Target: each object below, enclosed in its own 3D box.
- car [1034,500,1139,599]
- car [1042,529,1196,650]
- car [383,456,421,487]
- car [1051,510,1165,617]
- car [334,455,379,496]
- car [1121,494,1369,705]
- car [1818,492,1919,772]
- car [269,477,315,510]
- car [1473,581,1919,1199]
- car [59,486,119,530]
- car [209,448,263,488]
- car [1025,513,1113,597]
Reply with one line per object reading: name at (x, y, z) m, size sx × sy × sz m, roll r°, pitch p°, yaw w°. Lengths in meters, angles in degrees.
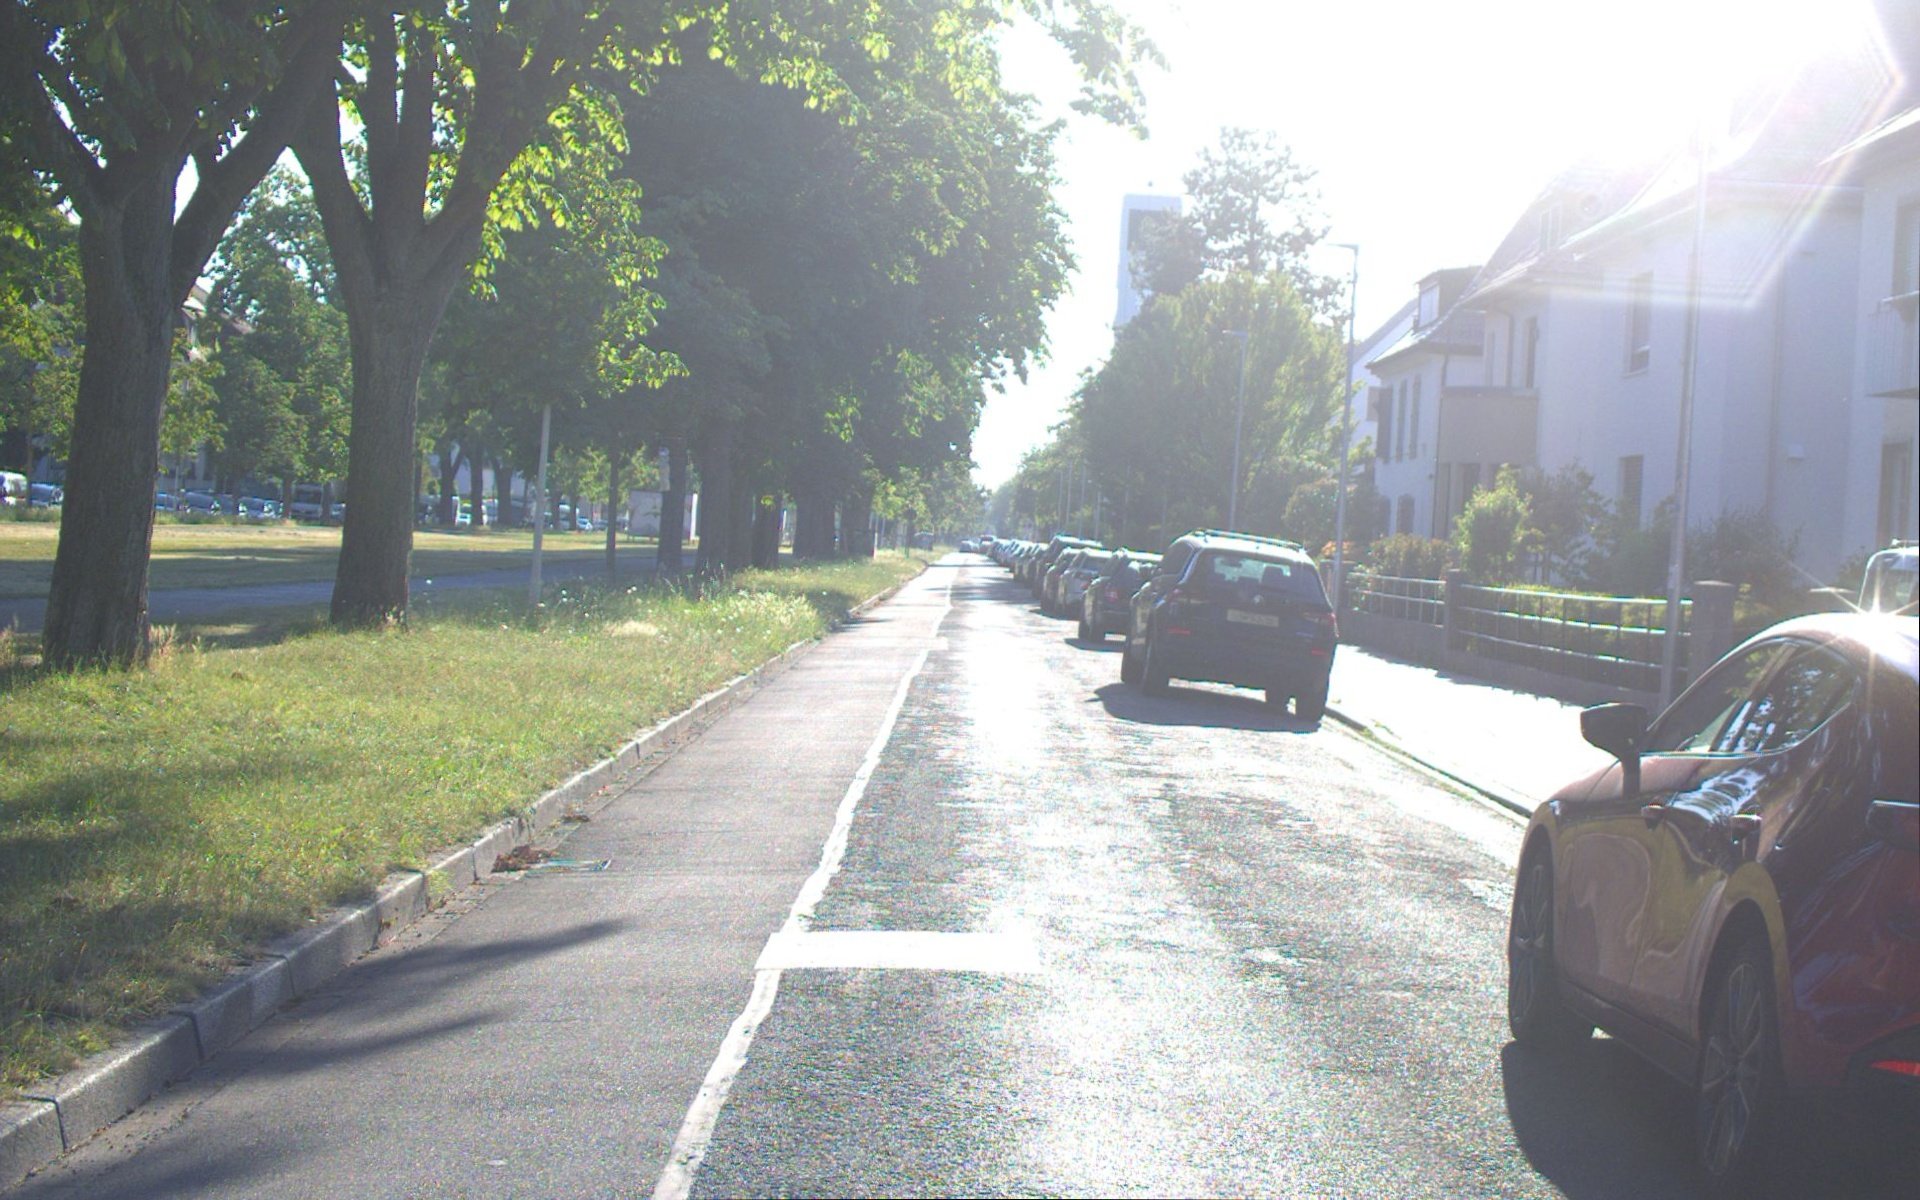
car at (2.858, -1.137, 78.397) m, size 1.993 × 2.007 × 4.000 m, roll 6°, pitch 0°, yaw -1°
car at (2.387, -0.164, 52.489) m, size 1.993 × 1.648 × 4.000 m, roll 4°, pitch 0°, yaw -1°
car at (-39.950, -9.181, 246.338) m, size 1.993 × 2.007 × 4.000 m, roll 3°, pitch 1°, yaw 0°
car at (3.093, -0.762, 72.730) m, size 1.993 × 2.007 × 4.000 m, roll 6°, pitch 0°, yaw -1°
car at (-32.753, -6.740, 186.527) m, size 1.654 × 1.931 × 3.567 m, roll 6°, pitch -1°, yaw -1°
car at (2.812, -0.057, 34.909) m, size 1.993 × 1.897 × 4.390 m, roll 3°, pitch 1°, yaw -1°
car at (8.306, 0.350, 24.226) m, size 3.986 × 1.816 × 1.760 m, roll 3°, pitch -5°, yaw -4°
car at (-40.407, -6.436, 208.062) m, size 1.879 × 1.746 × 3.797 m, roll 6°, pitch 0°, yaw 0°
car at (2.593, 0.714, 9.164) m, size 1.709 × 1.355 × 4.203 m, roll 6°, pitch 0°, yaw 0°
car at (-39.609, -4.194, 156.410) m, size 1.729 × 1.756 × 3.346 m, roll 6°, pitch 0°, yaw 0°
car at (-40.560, -7.402, 192.763) m, size 1.993 × 1.906 × 4.000 m, roll 6°, pitch 0°, yaw 0°
car at (2.910, -1.193, 92.619) m, size 1.993 × 2.007 × 4.000 m, roll 6°, pitch 0°, yaw -1°
